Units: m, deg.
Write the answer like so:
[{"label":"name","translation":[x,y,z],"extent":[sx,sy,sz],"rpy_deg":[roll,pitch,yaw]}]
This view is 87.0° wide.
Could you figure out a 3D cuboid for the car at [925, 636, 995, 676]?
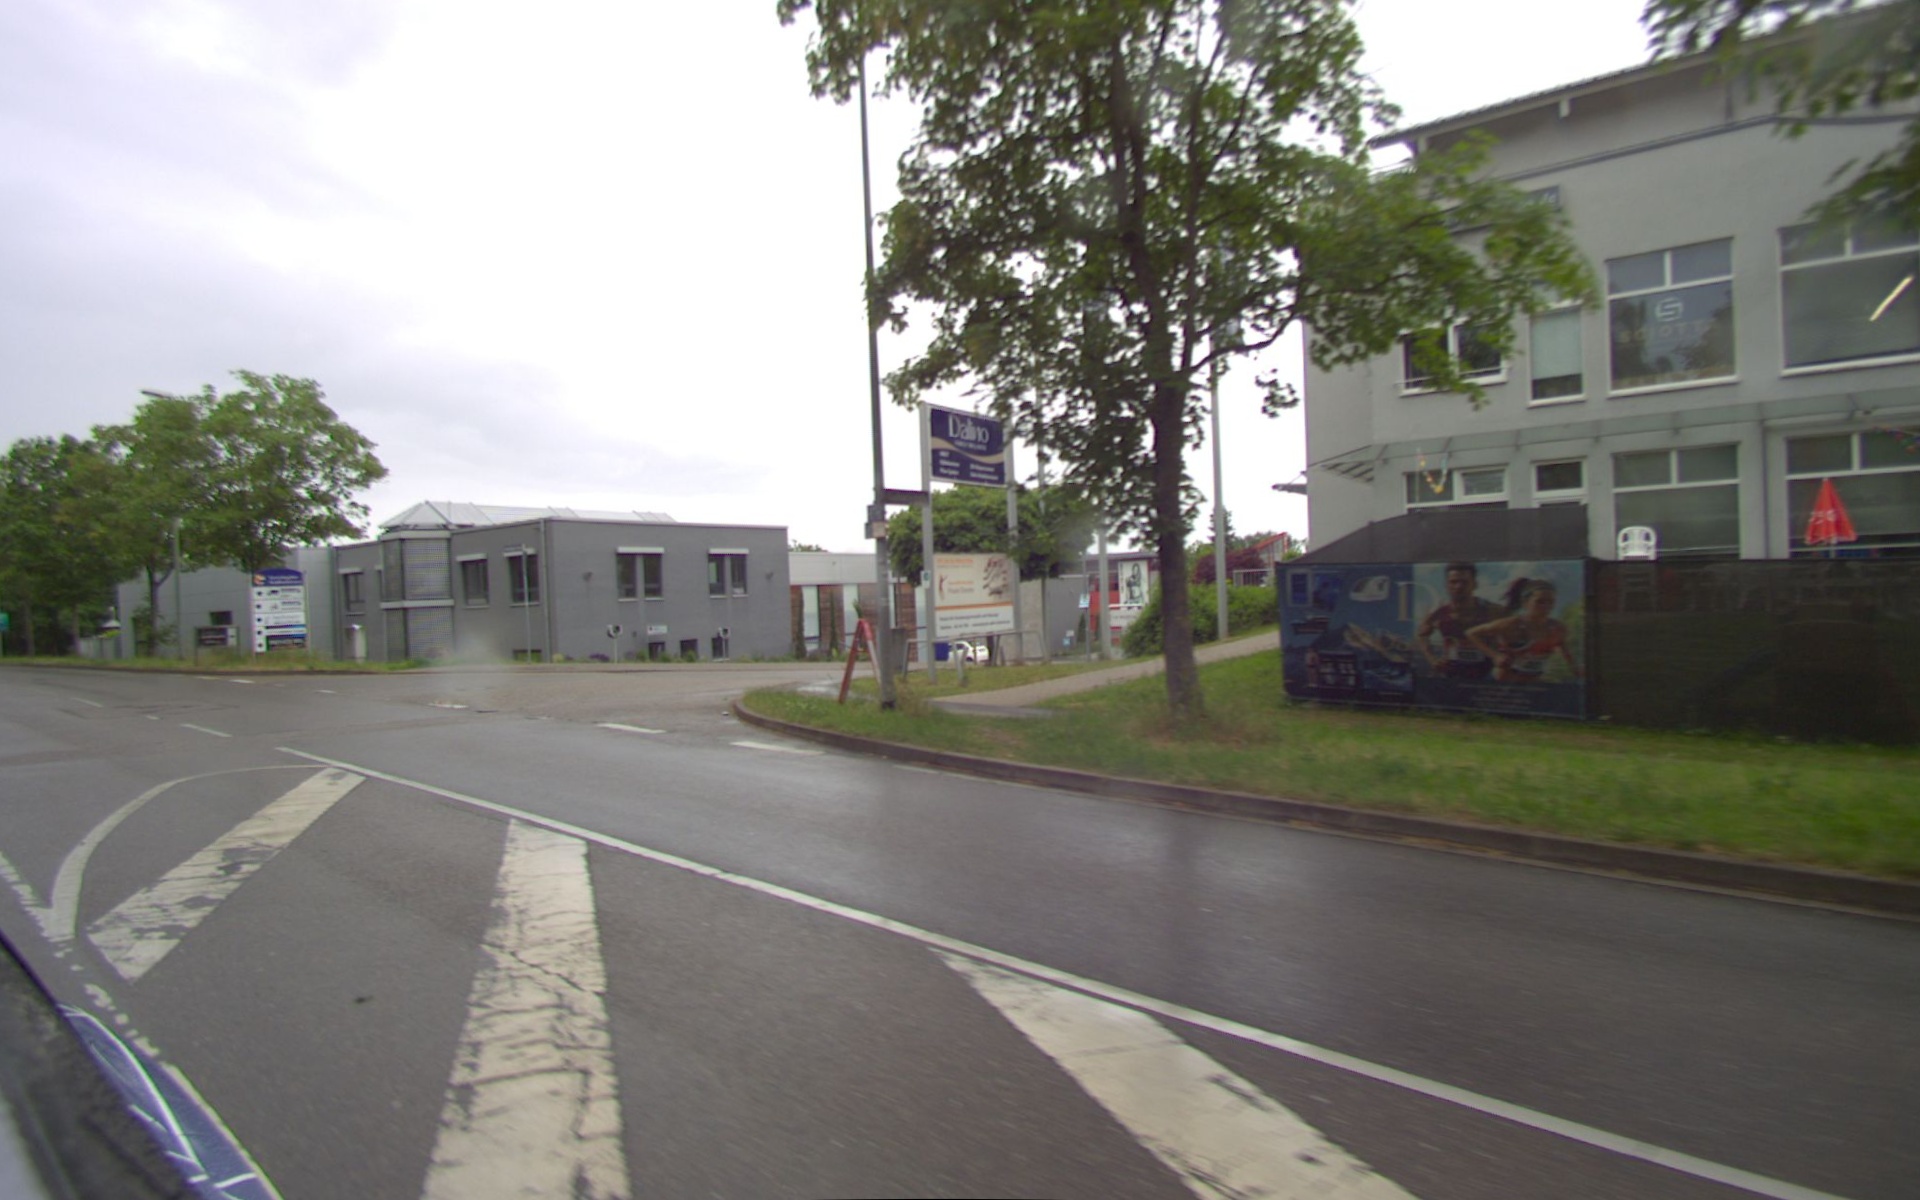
[{"label":"car","translation":[-0.023,2.880,51.931],"extent":[3.195,1.565,1.489],"rpy_deg":[-13,-9,35]}]
